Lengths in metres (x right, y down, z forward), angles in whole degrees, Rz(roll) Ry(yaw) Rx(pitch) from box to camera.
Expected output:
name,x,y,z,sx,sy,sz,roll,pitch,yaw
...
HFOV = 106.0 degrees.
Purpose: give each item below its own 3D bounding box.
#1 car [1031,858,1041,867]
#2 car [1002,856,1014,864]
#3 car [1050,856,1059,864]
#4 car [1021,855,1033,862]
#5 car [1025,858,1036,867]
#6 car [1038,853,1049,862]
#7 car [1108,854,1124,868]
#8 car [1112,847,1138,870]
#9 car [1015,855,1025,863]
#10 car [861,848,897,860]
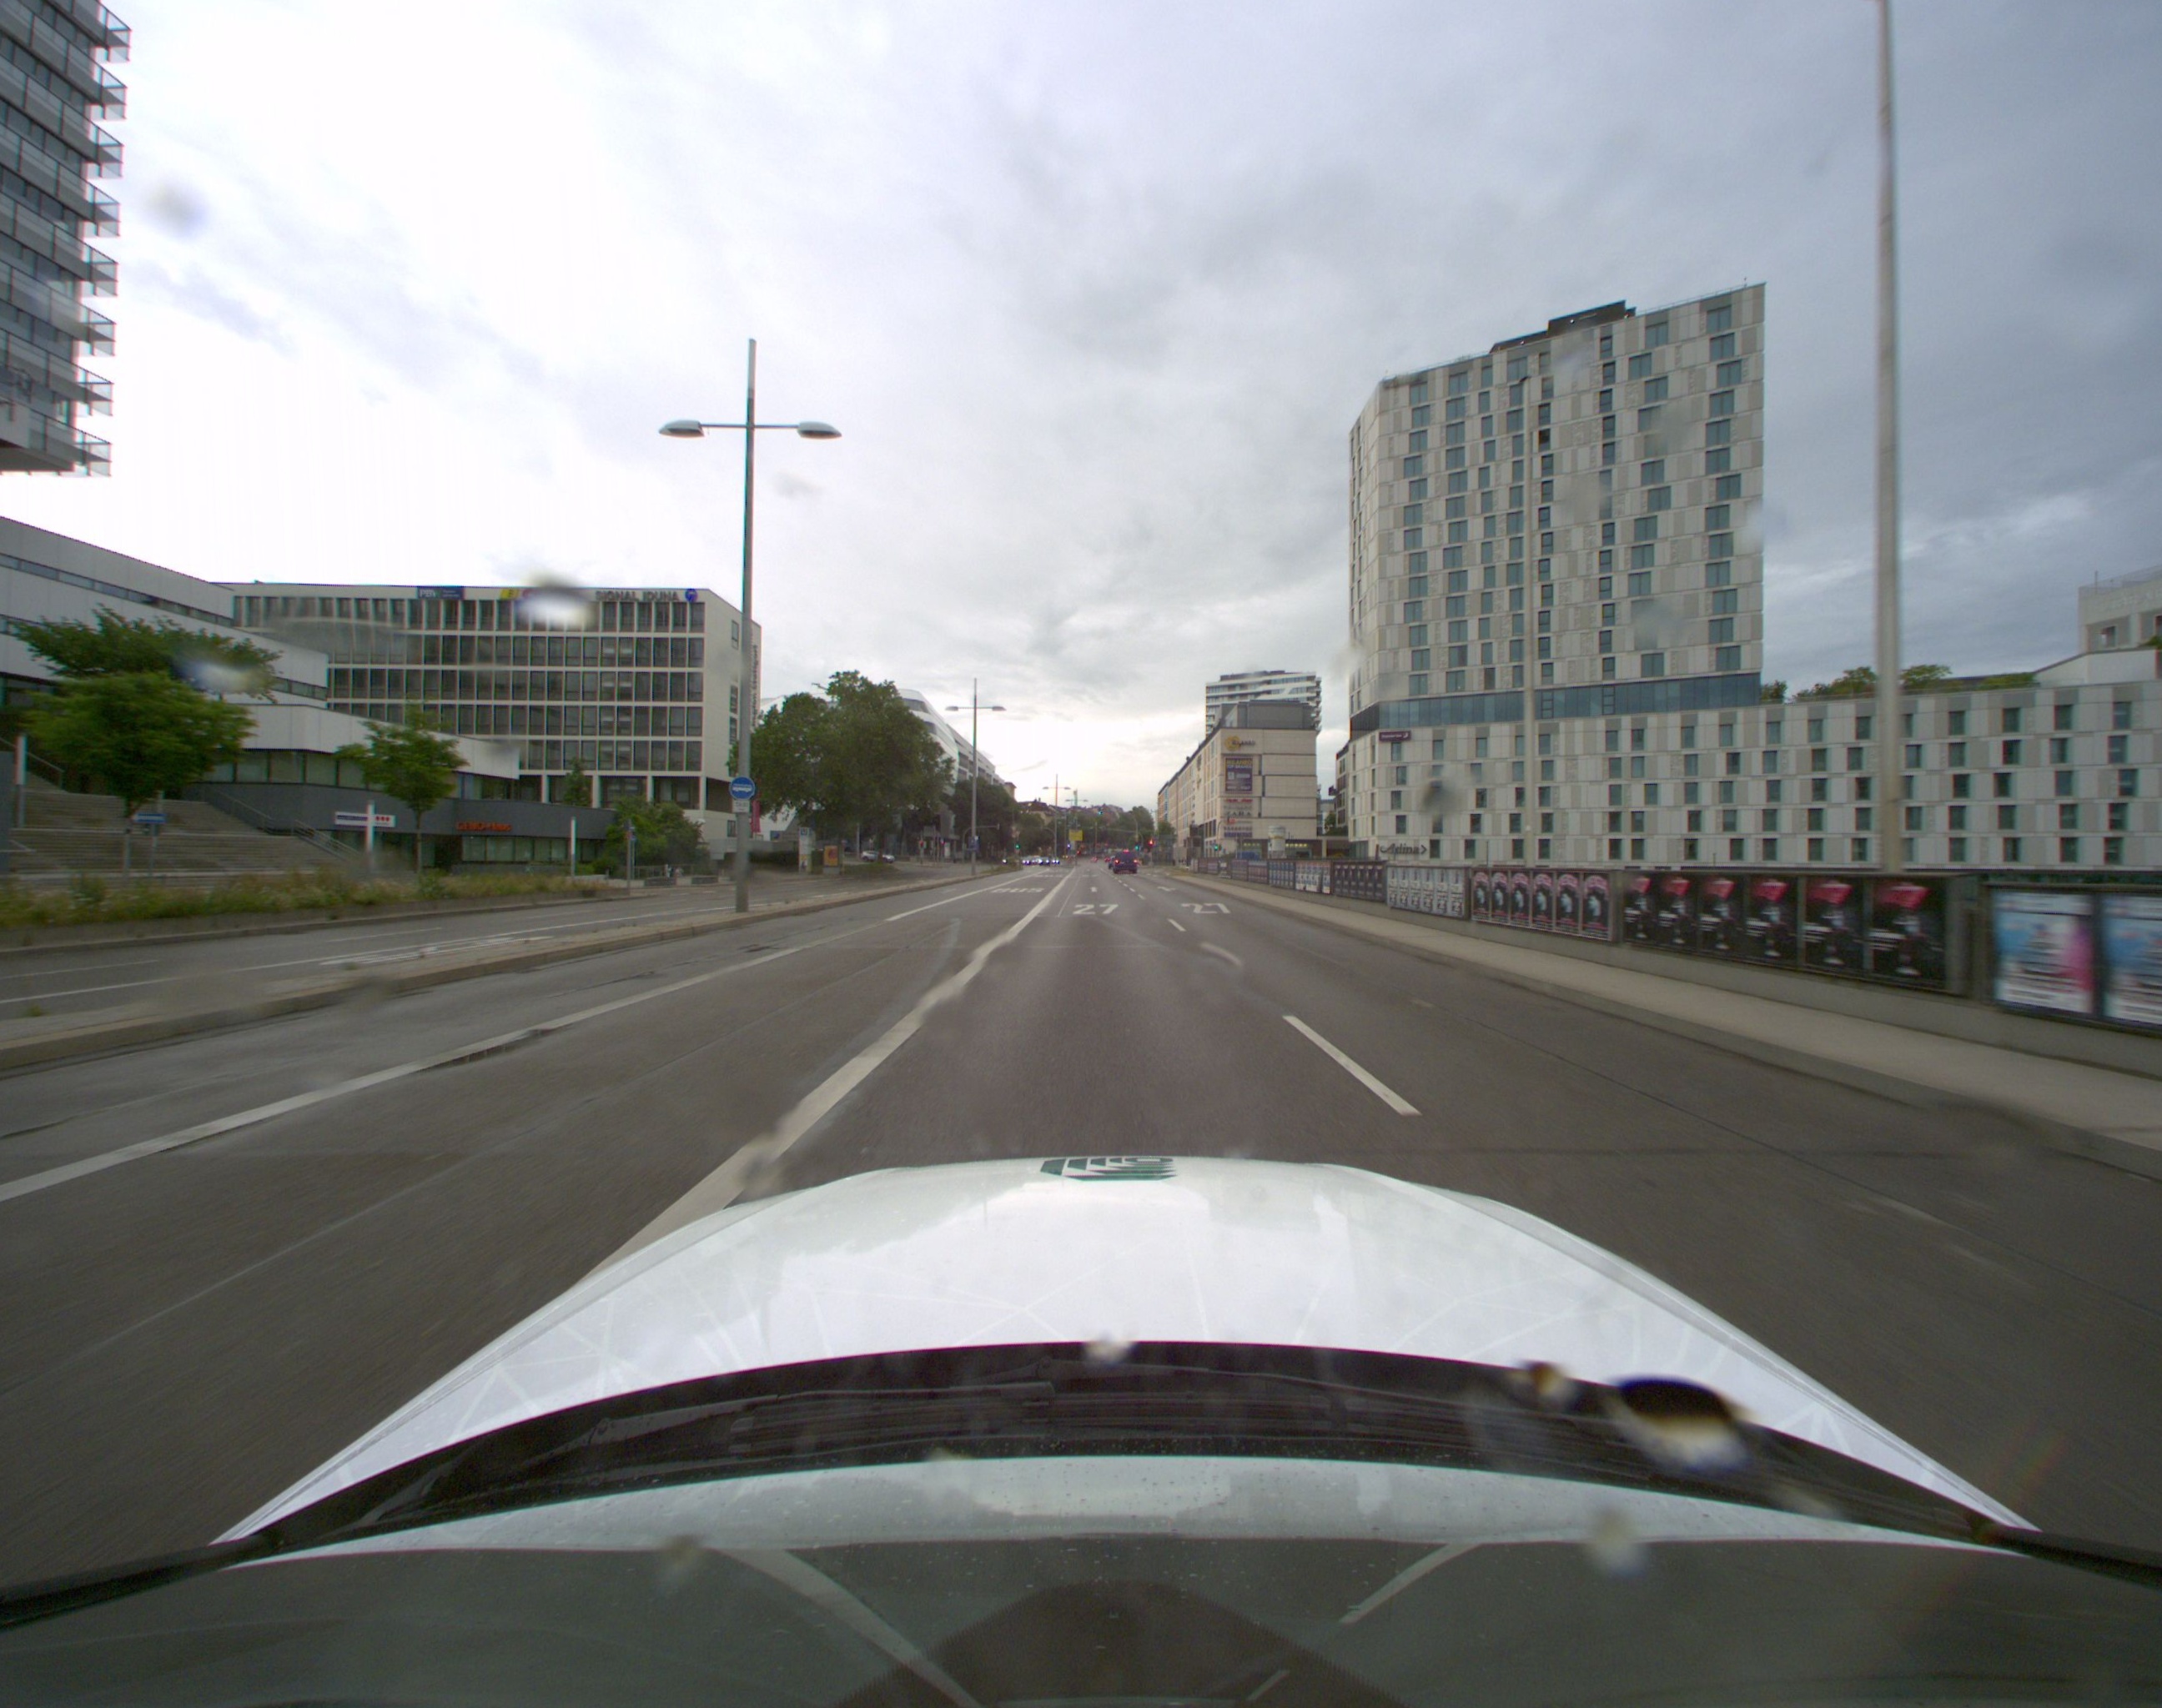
name,x,y,z,sx,sy,sz,roll,pitch,yaw
car,-9.049,1.728,163.811,1.737,1.748,3.540,0,-1,1
car,-12.746,1.126,142.472,1.737,1.328,4.226,0,-1,1
car,-5.603,1.270,172.696,1.533,1.477,3.696,0,-1,1
car,-9.511,0.823,142.873,1.737,1.257,3.540,0,0,1
car,-9.209,1.553,149.831,1.737,1.559,3.540,0,-1,1
car,-6.562,0.565,141.656,1.737,1.444,3.395,0,-1,1
car,4.073,0.856,95.366,1.734,1.531,3.814,0,-1,1
car,3.810,0.343,70.997,2.025,1.882,5.043,-2,0,1
car,-11.647,0.918,155.854,1.737,1.559,3.540,0,-1,1
car,-28.577,0.020,115.176,4.467,1.631,1.903,-1,-1,16
